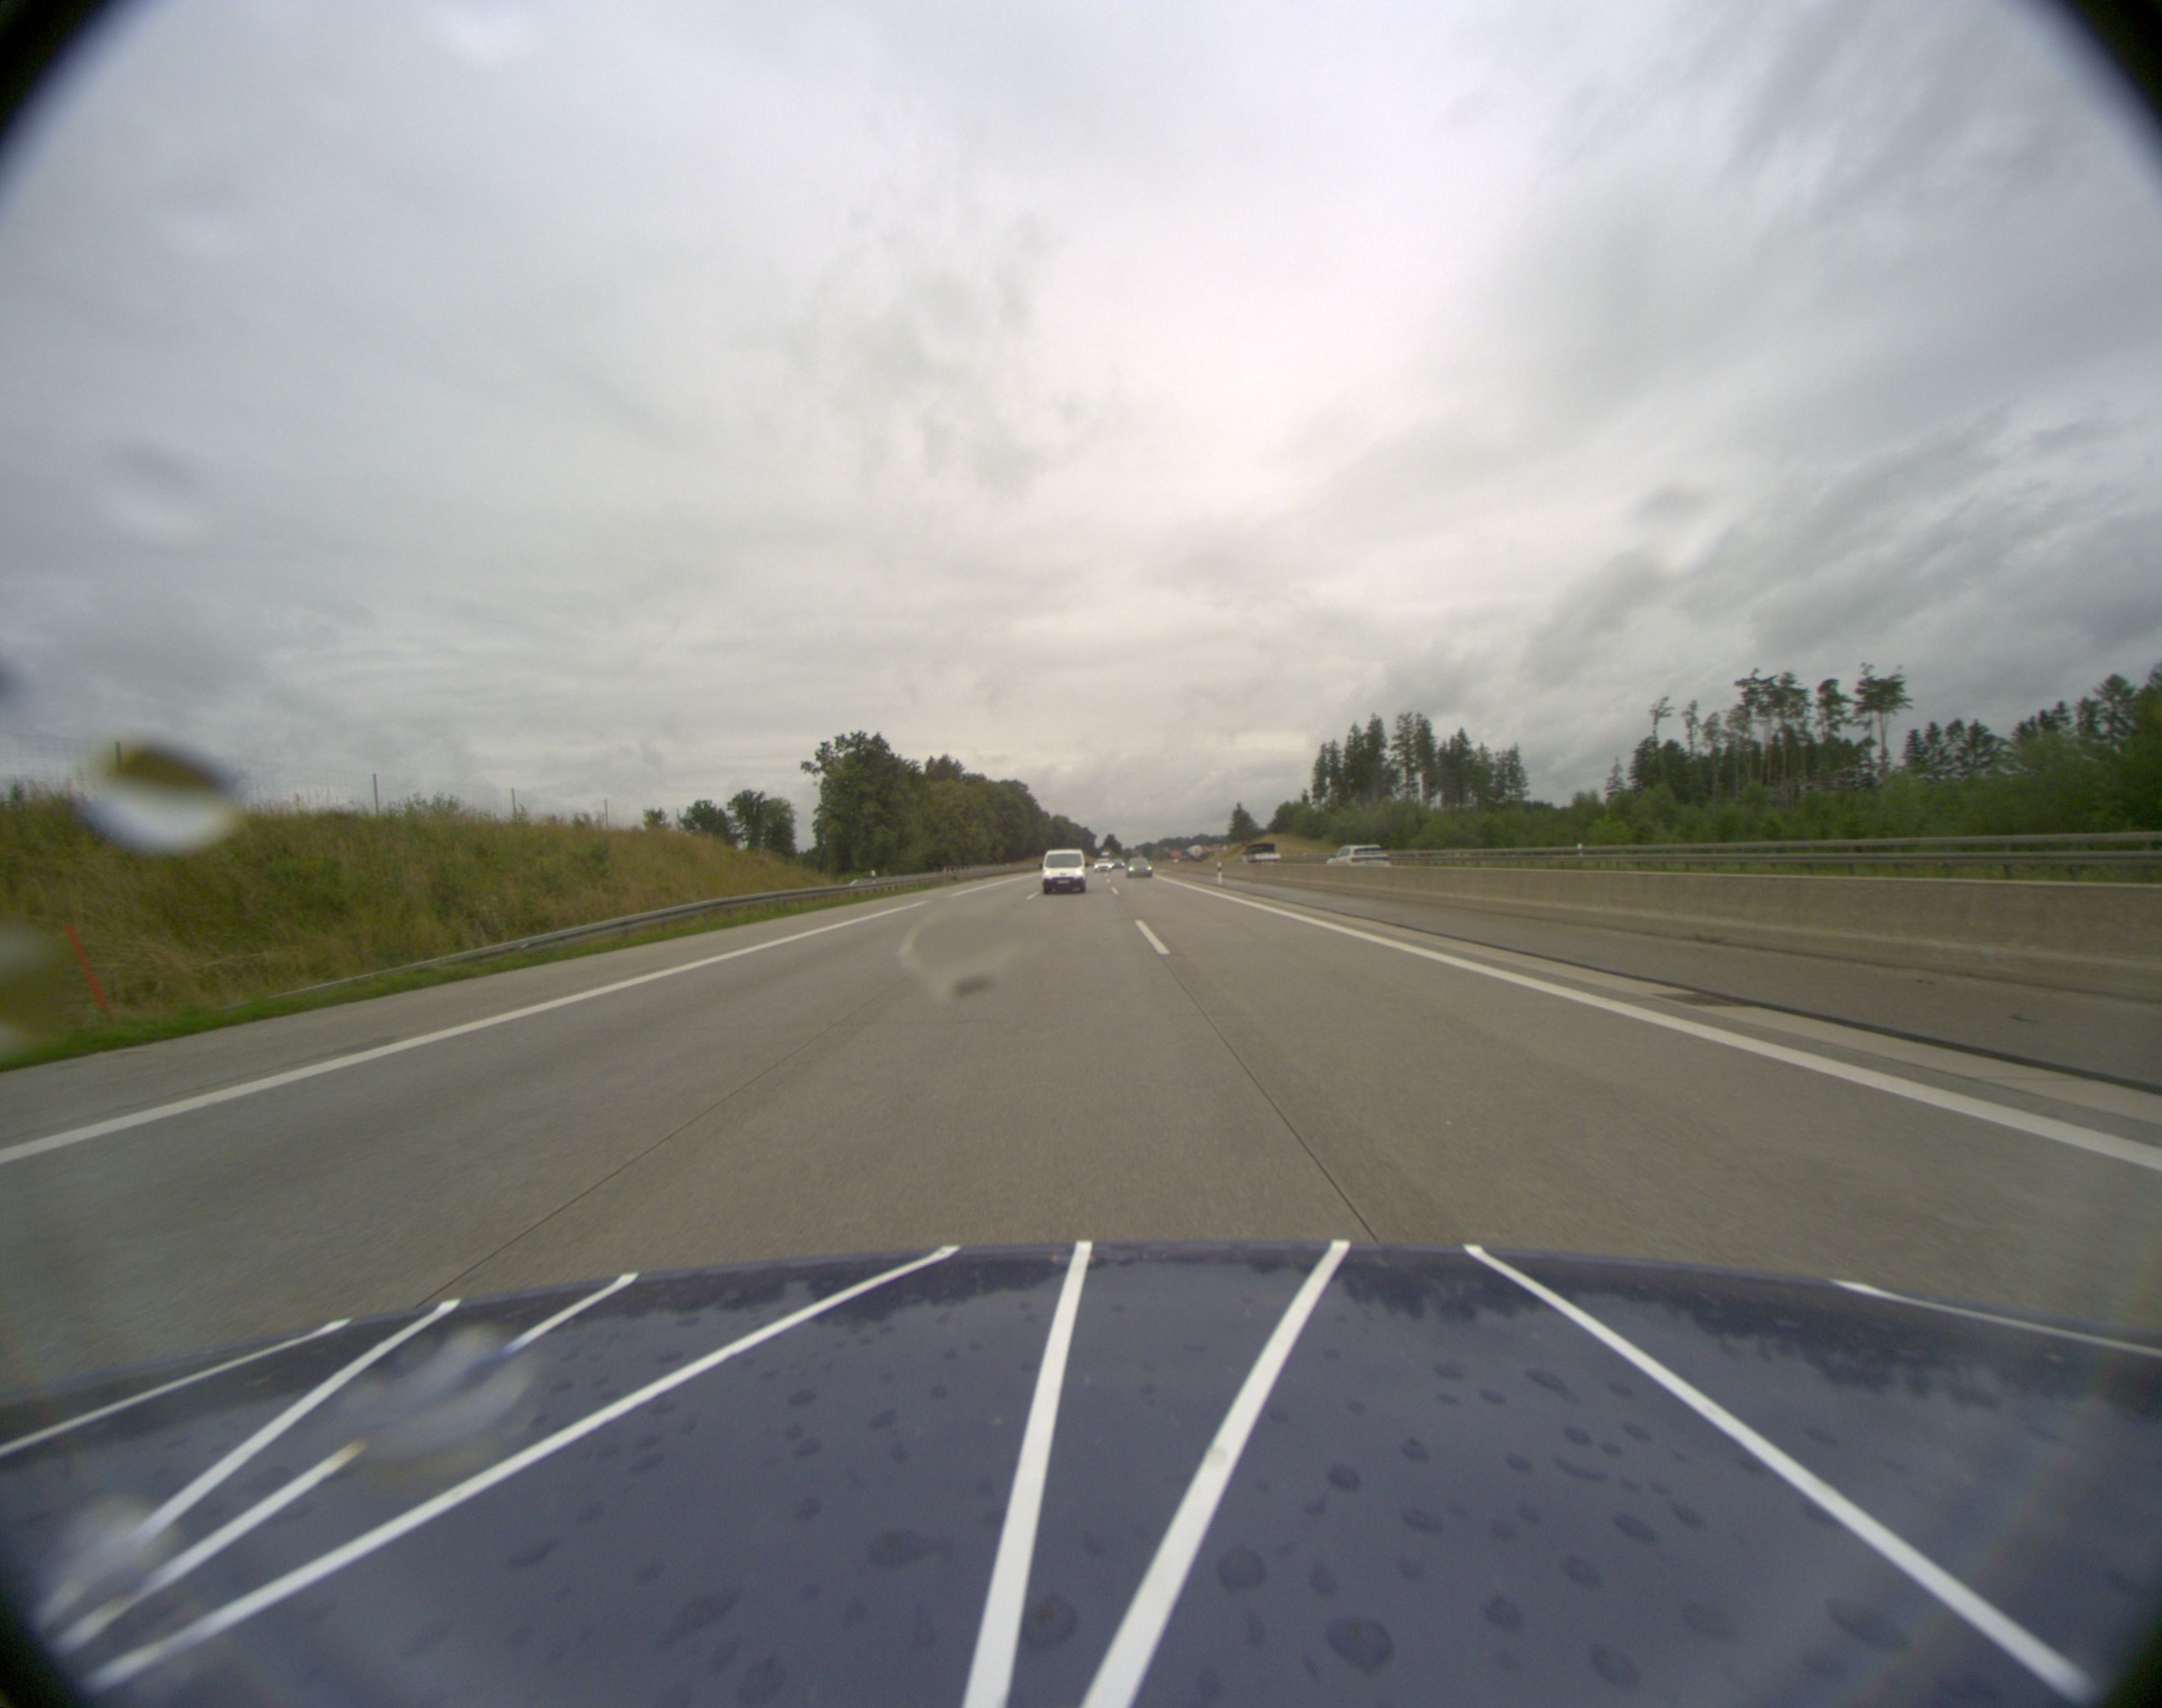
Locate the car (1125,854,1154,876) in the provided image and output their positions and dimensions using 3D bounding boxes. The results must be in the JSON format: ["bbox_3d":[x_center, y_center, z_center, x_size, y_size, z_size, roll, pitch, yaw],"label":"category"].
[{"bbox_3d":[4.272,0.774,56.211,1.789,1.472,4.570,-2,0,0],"label":"car"}]

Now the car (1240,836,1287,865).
[{"bbox_3d":[16.476,-0.321,69.147,2.627,2.386,7.517,-2,0,2],"label":"car"}]

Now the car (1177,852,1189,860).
[{"bbox_3d":[20.021,0.340,149.412,1.833,1.525,5.091,-2,0,4],"label":"car"}]

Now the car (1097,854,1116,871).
[{"bbox_3d":[2.808,0.914,84.753,2.031,1.669,4.319,-2,0,2],"label":"car"}]

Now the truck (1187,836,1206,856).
[{"bbox_3d":[24.996,-1.710,164.493,2.843,4.108,8.852,-2,0,2],"label":"truck"}]

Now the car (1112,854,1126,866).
[{"bbox_3d":[5.376,0.815,107.553,1.885,1.669,4.320,-2,0,4],"label":"car"}]

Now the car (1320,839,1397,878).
[{"bbox_3d":[12.055,0.179,33.295,1.747,1.557,4.499,-2,0,1],"label":"car"}]

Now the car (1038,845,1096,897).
[{"bbox_3d":[-0.511,0.688,34.734,2.042,2.111,6.069,-2,0,4],"label":"car"}]

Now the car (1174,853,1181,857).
[{"bbox_3d":[32.530,0.249,255.956,1.950,1.280,4.361,-2,0,4],"label":"car"}]
